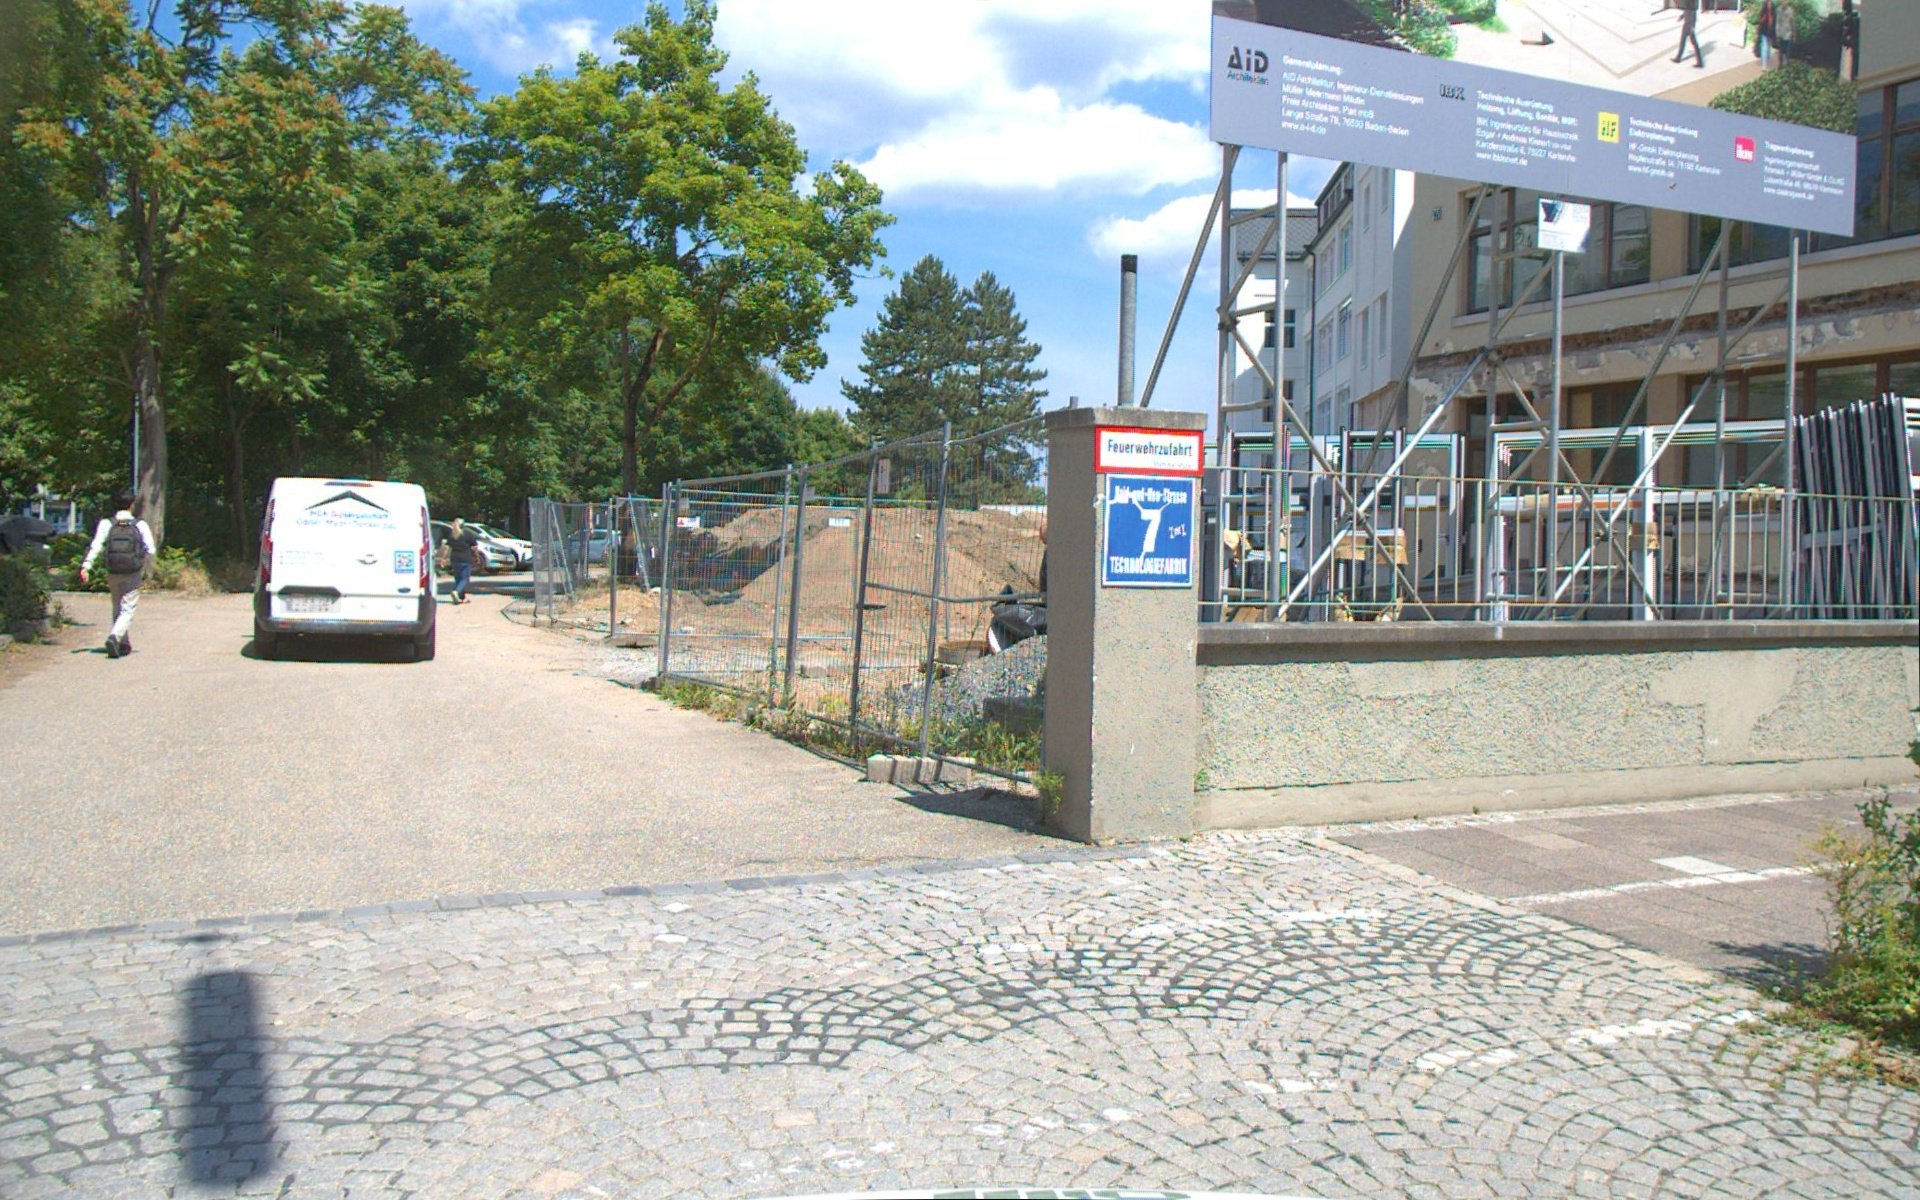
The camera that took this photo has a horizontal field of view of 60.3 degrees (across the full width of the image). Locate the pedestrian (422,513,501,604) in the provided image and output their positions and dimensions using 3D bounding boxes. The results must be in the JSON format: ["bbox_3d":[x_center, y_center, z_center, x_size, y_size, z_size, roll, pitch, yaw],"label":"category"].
[{"bbox_3d":[-9.504,-0.804,31.571,1.013,1.678,1.050,2,2,16],"label":"pedestrian"}]

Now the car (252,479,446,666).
[{"bbox_3d":[-7.396,-0.376,19.978,1.945,1.980,4.552,0,2,-21],"label":"car"}]

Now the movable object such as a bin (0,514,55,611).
[{"bbox_3d":[-14.364,-0.578,24.643,1.134,1.418,1.115,2,2,27],"label":"movable object such as a bin"}]

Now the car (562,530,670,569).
[{"bbox_3d":[-15.559,-2.310,74.905,4.411,1.625,1.938,2,2,3],"label":"car"}]

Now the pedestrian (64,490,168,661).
[{"bbox_3d":[-8.976,-0.272,17.629,0.861,1.759,1.074,0,3,-21],"label":"pedestrian"}]

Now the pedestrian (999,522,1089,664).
[{"bbox_3d":[1.110,-0.104,22.037,0.948,1.851,0.867,1,2,-15],"label":"pedestrian"}]

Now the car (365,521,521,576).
[{"bbox_3d":[-16.906,-1.670,54.187,4.411,1.637,2.001,2,0,4],"label":"car"}]

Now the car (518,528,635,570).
[{"bbox_3d":[-16.048,-2.167,69.299,4.411,1.625,1.727,2,2,3],"label":"car"}]

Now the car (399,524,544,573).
[{"bbox_3d":[-16.718,-1.765,56.716,4.411,1.558,1.726,2,2,3],"label":"car"}]
